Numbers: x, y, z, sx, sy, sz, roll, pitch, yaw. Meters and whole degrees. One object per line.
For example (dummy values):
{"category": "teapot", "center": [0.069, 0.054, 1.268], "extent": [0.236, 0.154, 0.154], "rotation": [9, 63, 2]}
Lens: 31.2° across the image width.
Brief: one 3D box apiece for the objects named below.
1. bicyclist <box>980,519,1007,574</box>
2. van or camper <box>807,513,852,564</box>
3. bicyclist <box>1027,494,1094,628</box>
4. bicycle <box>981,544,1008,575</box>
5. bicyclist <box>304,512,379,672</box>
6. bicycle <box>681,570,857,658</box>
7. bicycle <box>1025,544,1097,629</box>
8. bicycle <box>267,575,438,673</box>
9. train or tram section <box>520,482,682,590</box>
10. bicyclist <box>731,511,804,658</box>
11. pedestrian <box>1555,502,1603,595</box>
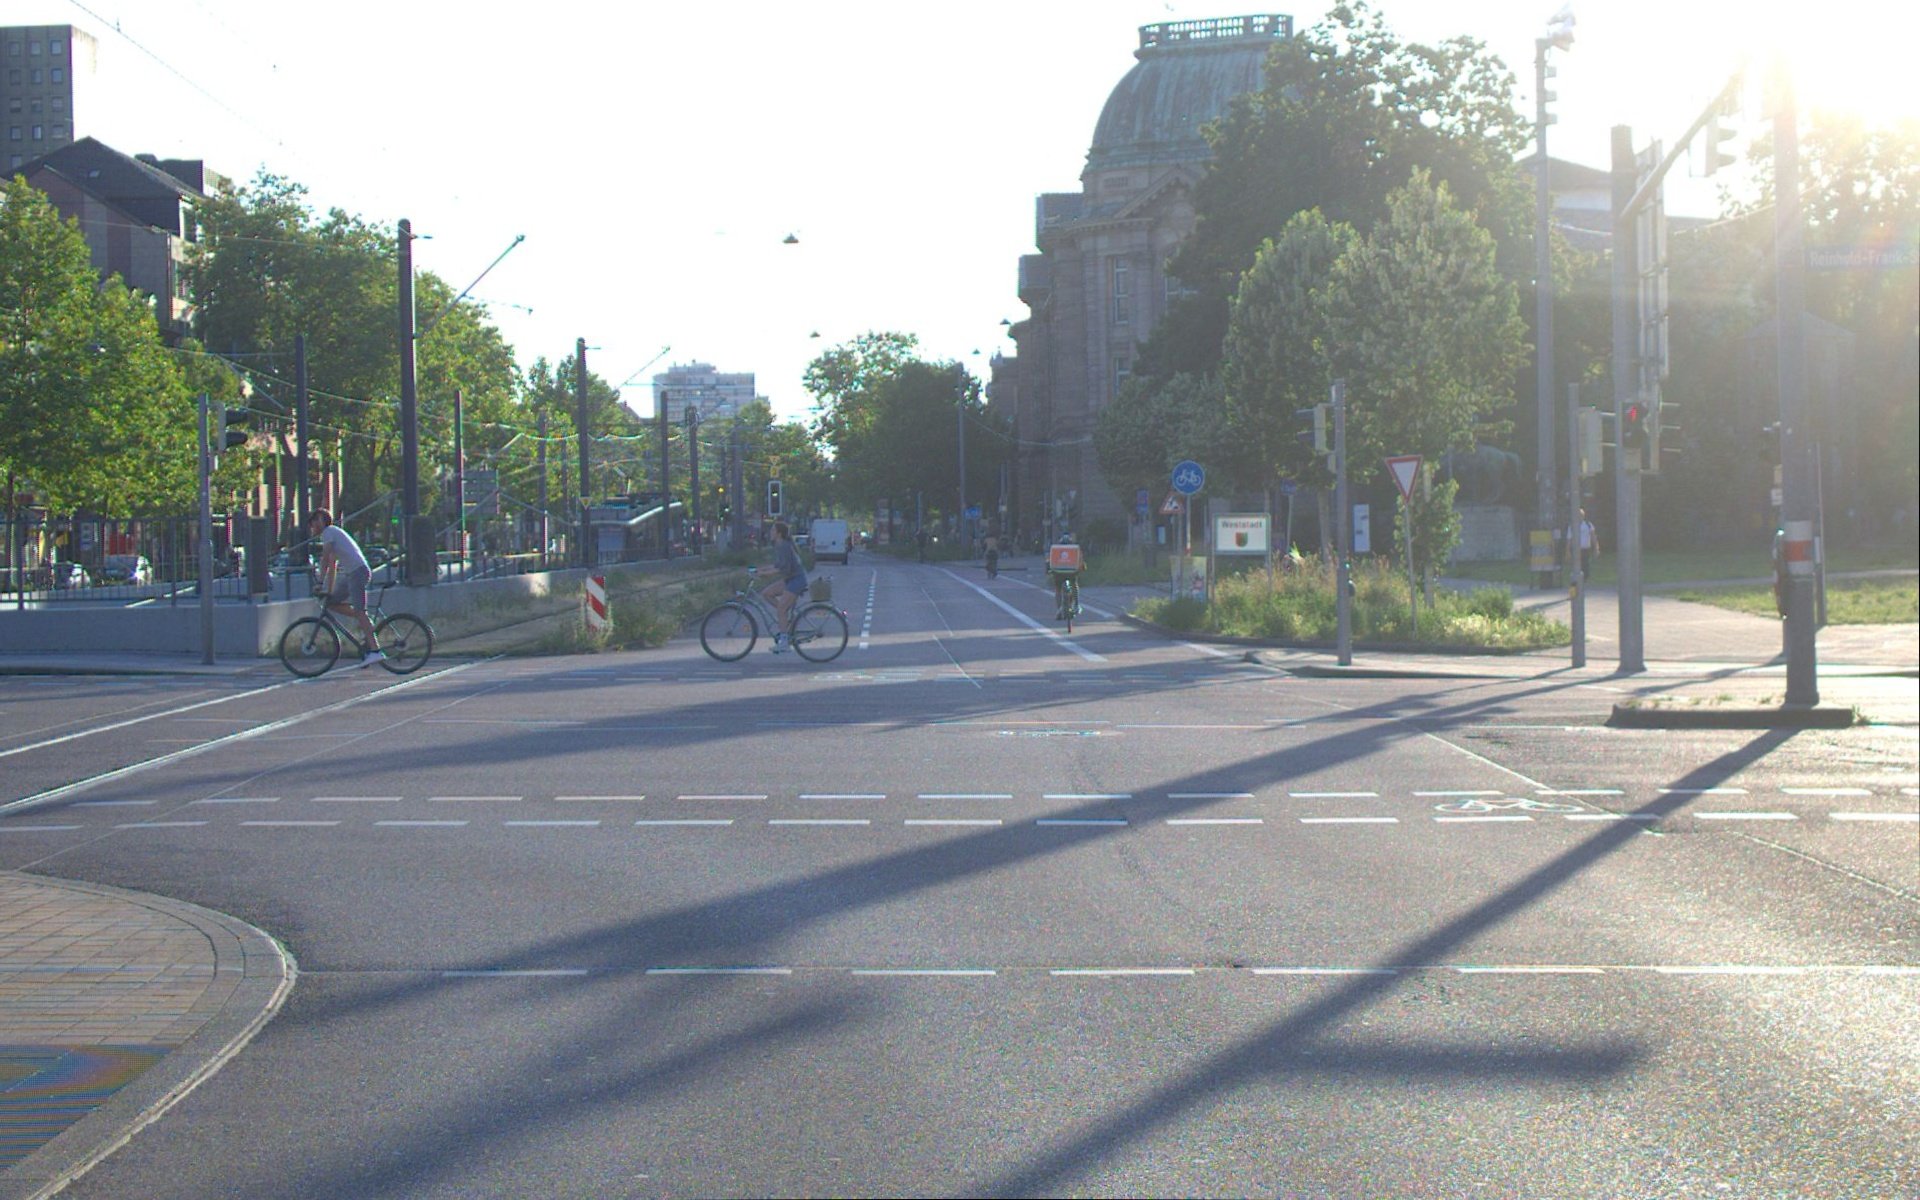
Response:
{"category": "bicyclist", "center": [1.225, -1.944, 124.836], "extent": [0.925, 2.007, 0.850], "rotation": [-1, 1, -1]}
{"category": "van or camper", "center": [-7.330, -3.455, 192.382], "extent": [2.449, 2.761, 5.601], "rotation": [-1, 1, -2]}
{"category": "bicyclist", "center": [1.720, -0.673, 58.872], "extent": [1.082, 2.268, 0.986], "rotation": [0, 1, -1]}
{"category": "bicycle", "center": [1.236, -1.483, 124.853], "extent": [0.924, 1.108, 2.333], "rotation": [-1, 1, -1]}
{"category": "bicyclist", "center": [-7.108, -0.095, 39.528], "extent": [0.792, 1.812, 0.646], "rotation": [-1, 1, -8]}
{"category": "bicycle", "center": [-2.375, 0.166, 42.786], "extent": [2.163, 1.080, 0.539], "rotation": [0, 0, -3]}
{"category": "bicycle", "center": [1.718, -0.248, 58.934], "extent": [1.098, 1.394, 2.832], "rotation": [-1, 1, -1]}
{"category": "bicycle", "center": [-6.979, 0.266, 39.561], "extent": [1.900, 1.071, 0.632], "rotation": [-1, 1, -9]}
{"category": "train or tram section", "center": [-14.175, -2.646, 136.948], "extent": [4.387, 3.836, 11.410], "rotation": [-1, 3, 4]}
{"category": "bicyclist", "center": [-2.389, -0.198, 42.785], "extent": [0.876, 1.812, 0.538], "rotation": [-1, 1, -2]}
{"category": "pedestrian", "center": [12.070, -1.003, 67.068], "extent": [0.833, 1.797, 0.810], "rotation": [-1, 1, 15]}
